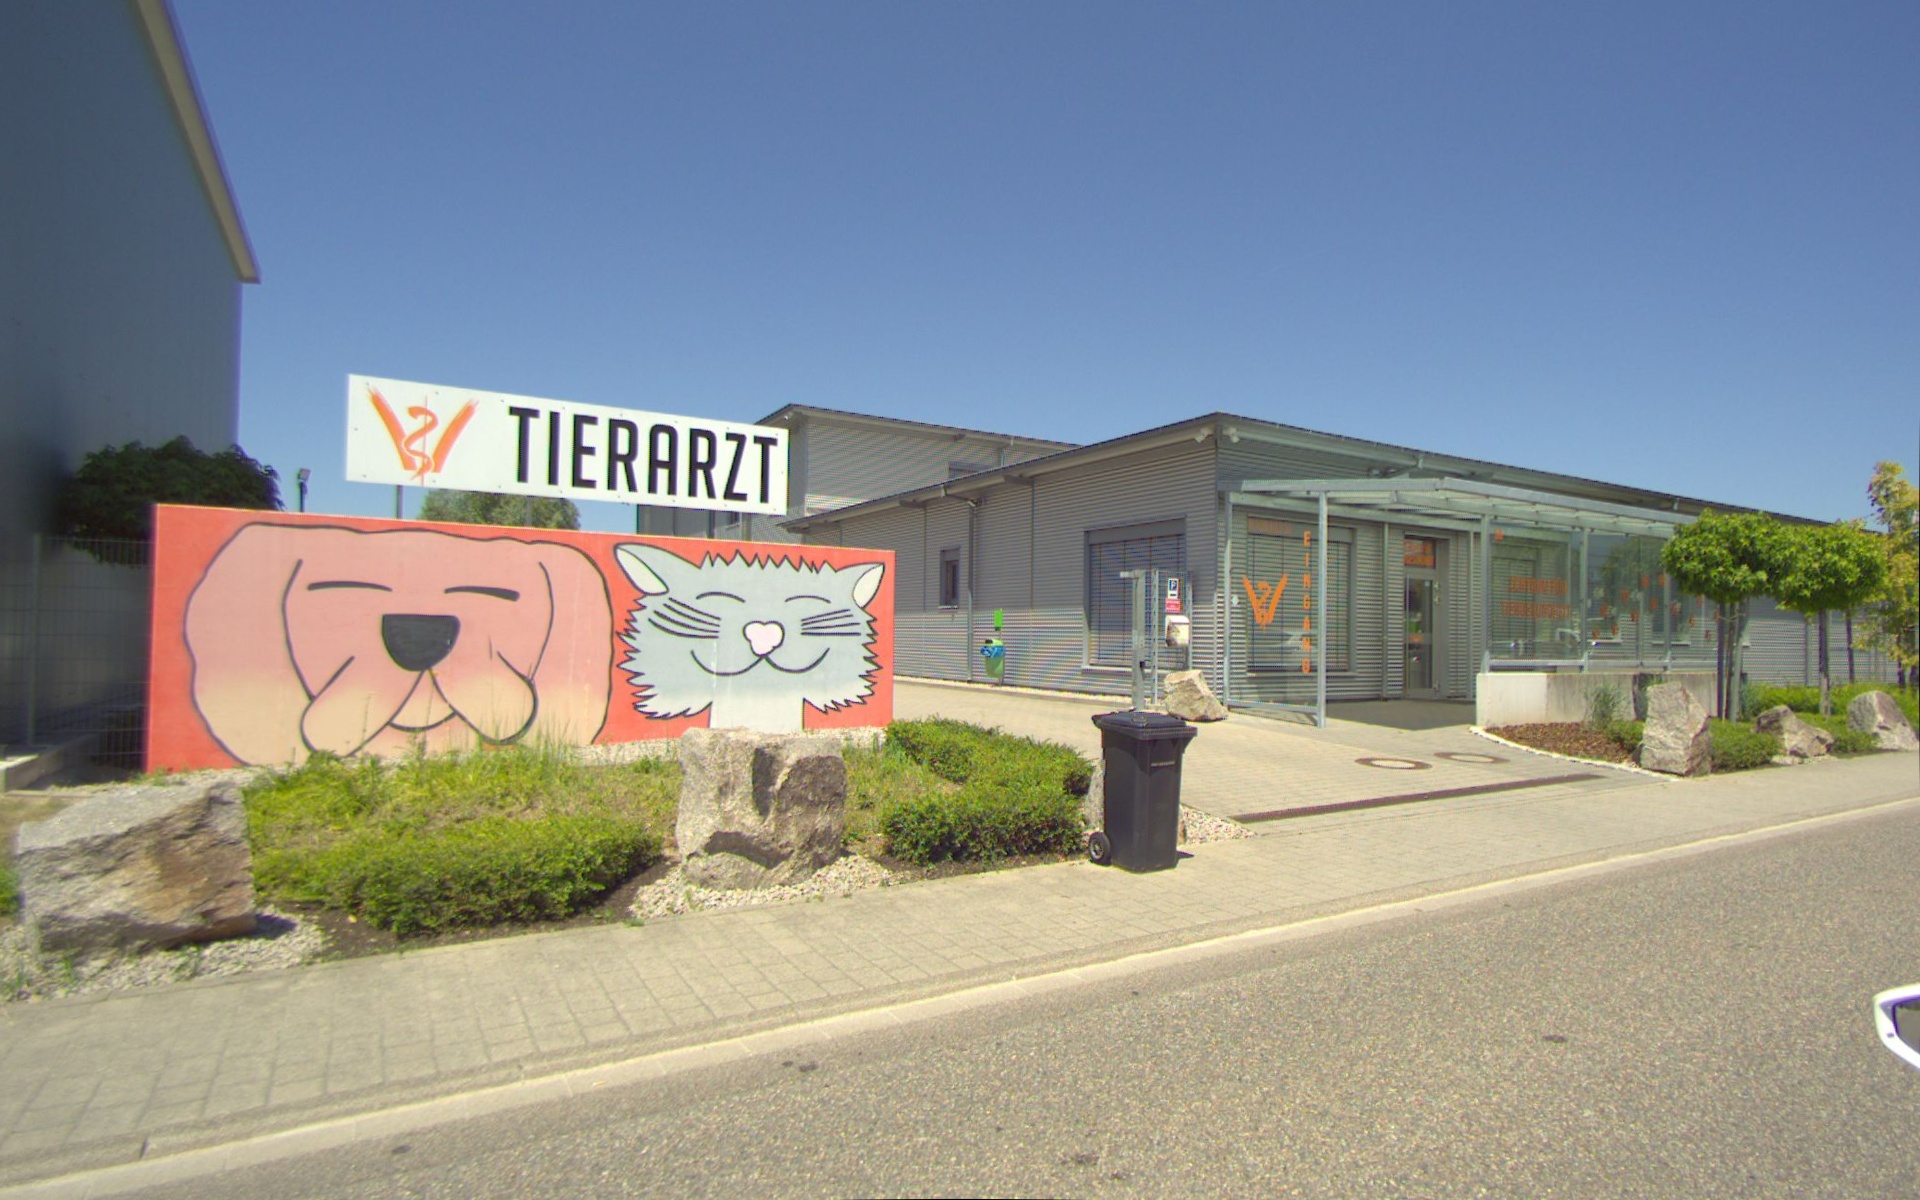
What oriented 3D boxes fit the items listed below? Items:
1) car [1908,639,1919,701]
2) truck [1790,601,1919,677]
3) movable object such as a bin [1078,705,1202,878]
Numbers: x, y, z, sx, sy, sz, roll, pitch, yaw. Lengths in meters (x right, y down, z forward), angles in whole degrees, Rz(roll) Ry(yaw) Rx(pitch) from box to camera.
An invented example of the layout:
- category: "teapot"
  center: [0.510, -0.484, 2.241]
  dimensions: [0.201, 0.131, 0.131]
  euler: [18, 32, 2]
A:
- category: "car"
  center: [25.899, 1.761, 24.118]
  dimensions: [1.845, 1.538, 4.240]
  euler: [2, -2, -31]
- category: "truck"
  center: [46.971, 1.946, 51.142]
  dimensions: [2.536, 3.604, 8.063]
  euler: [1, -1, -1]
- category: "movable object such as a bin"
  center: [1.130, 1.172, 6.329]
  dimensions: [0.507, 0.962, 0.566]
  euler: [2, -1, -36]
